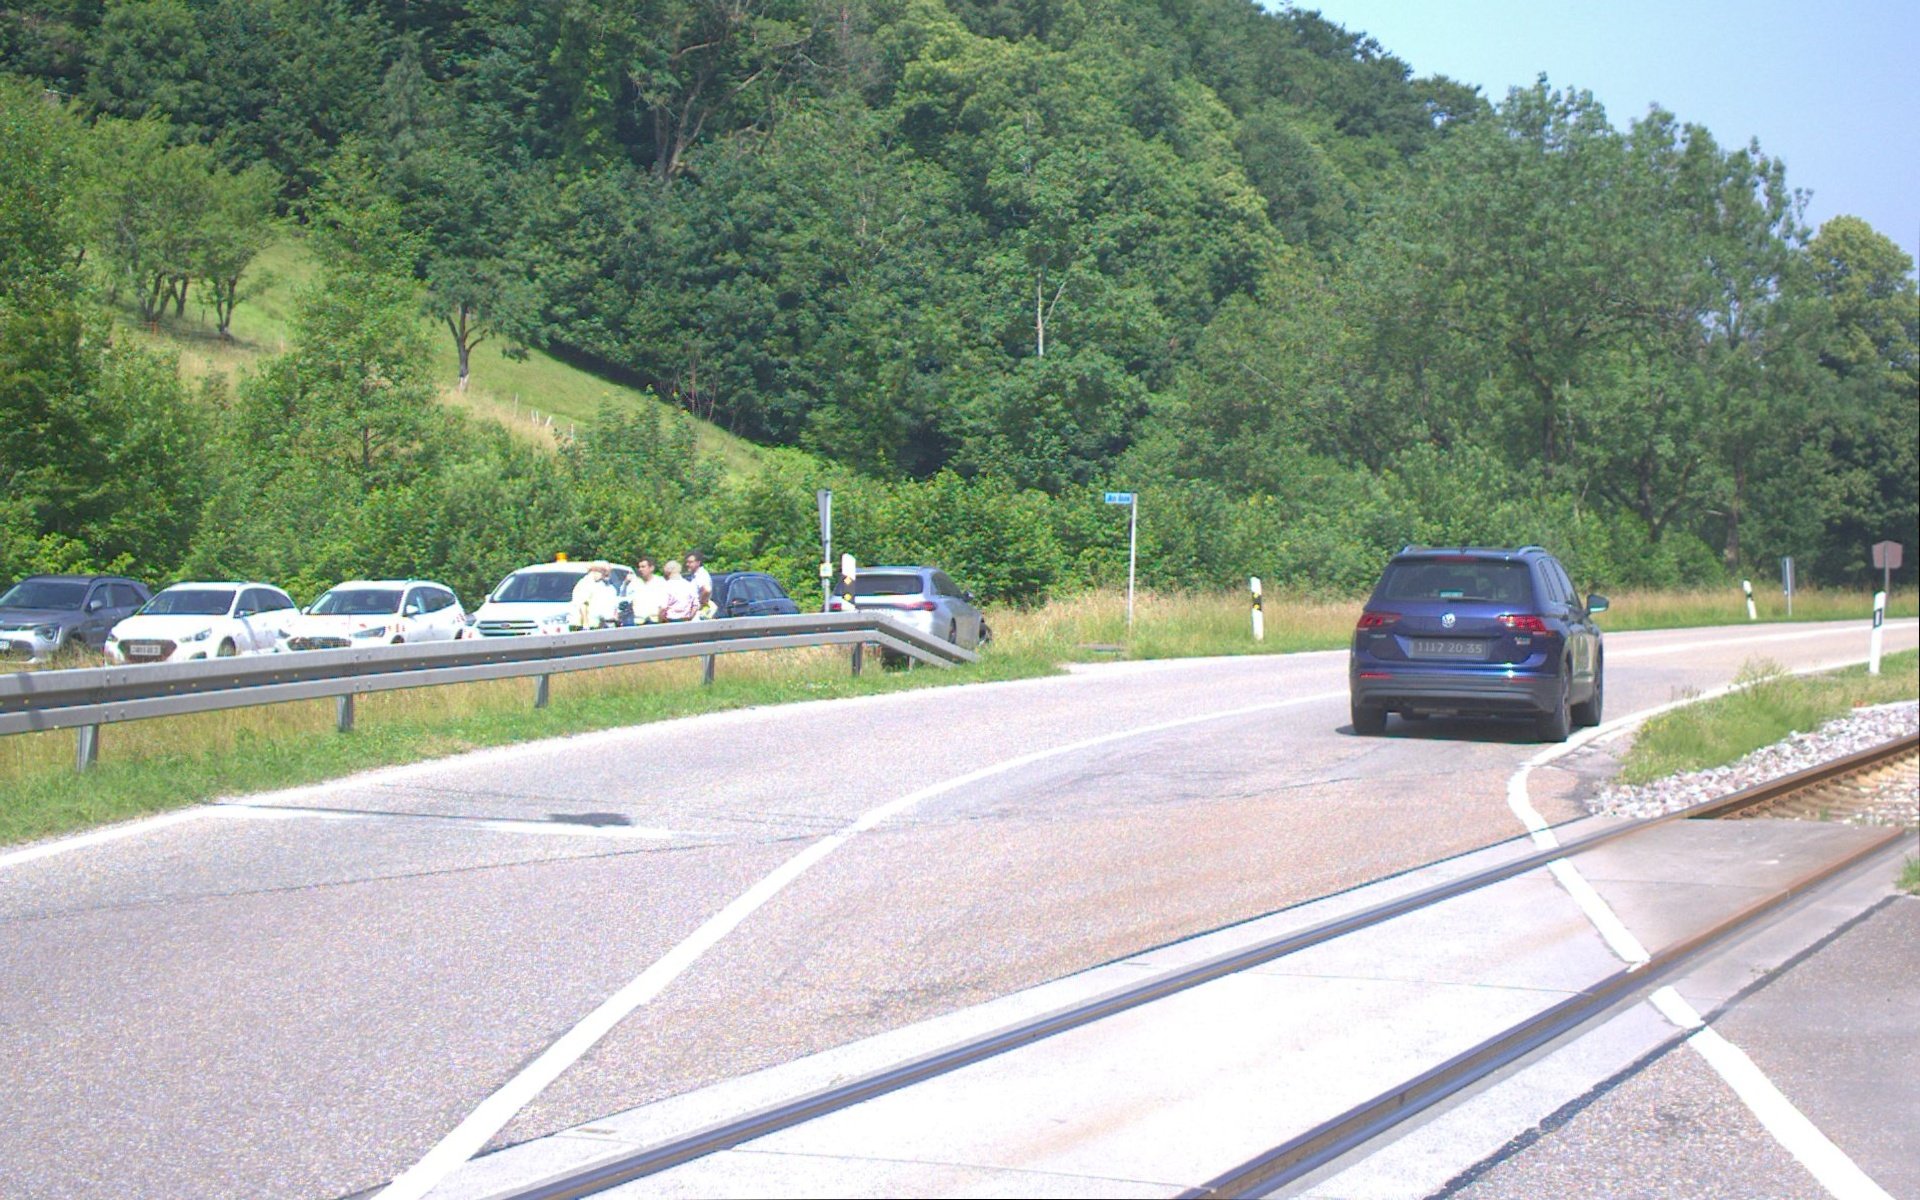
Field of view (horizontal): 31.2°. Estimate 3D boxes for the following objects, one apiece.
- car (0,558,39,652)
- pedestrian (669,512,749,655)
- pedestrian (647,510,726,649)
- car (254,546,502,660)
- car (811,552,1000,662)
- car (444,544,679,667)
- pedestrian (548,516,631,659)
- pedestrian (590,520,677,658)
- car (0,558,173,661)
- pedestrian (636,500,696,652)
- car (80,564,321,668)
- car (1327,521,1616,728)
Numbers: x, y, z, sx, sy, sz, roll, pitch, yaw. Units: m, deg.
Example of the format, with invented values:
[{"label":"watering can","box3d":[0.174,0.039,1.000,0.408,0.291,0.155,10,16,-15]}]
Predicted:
[{"label":"car","box3d":[-16.389,0.112,53.878,1.994,1.495,4.520,-1,0,10]},{"label":"pedestrian","box3d":[-3.295,-0.217,45.128,0.769,1.852,0.648,-2,0,-44]},{"label":"pedestrian","box3d":[-3.645,-0.273,45.866,0.769,1.834,0.648,-2,0,-44]},{"label":"car","box3d":[-8.814,0.021,52.528,1.994,1.636,4.899,-1,0,13]},{"label":"car","box3d":[-0.740,0.080,49.965,1.827,1.495,4.275,-1,0,12]},{"label":"car","box3d":[-5.991,0.053,52.244,1.872,1.776,4.768,0,1,16]},{"label":"pedestrian","box3d":[-4.803,-0.163,44.565,0.789,1.836,0.698,-1,1,23]},{"label":"pedestrian","box3d":[-4.305,-0.149,45.331,0.770,1.790,0.792,-1,0,43]},{"label":"car","box3d":[-14.072,0.117,53.289,1.994,1.495,4.520,1,1,10]},{"label":"pedestrian","box3d":[-3.824,-0.316,44.778,0.660,1.948,0.533,-2,0,3]},{"label":"car","box3d":[-11.562,0.218,52.661,1.994,1.495,4.520,-1,0,10]},{"label":"car","box3d":[4.556,0.145,30.153,1.854,1.643,4.137,2,2,17]}]
